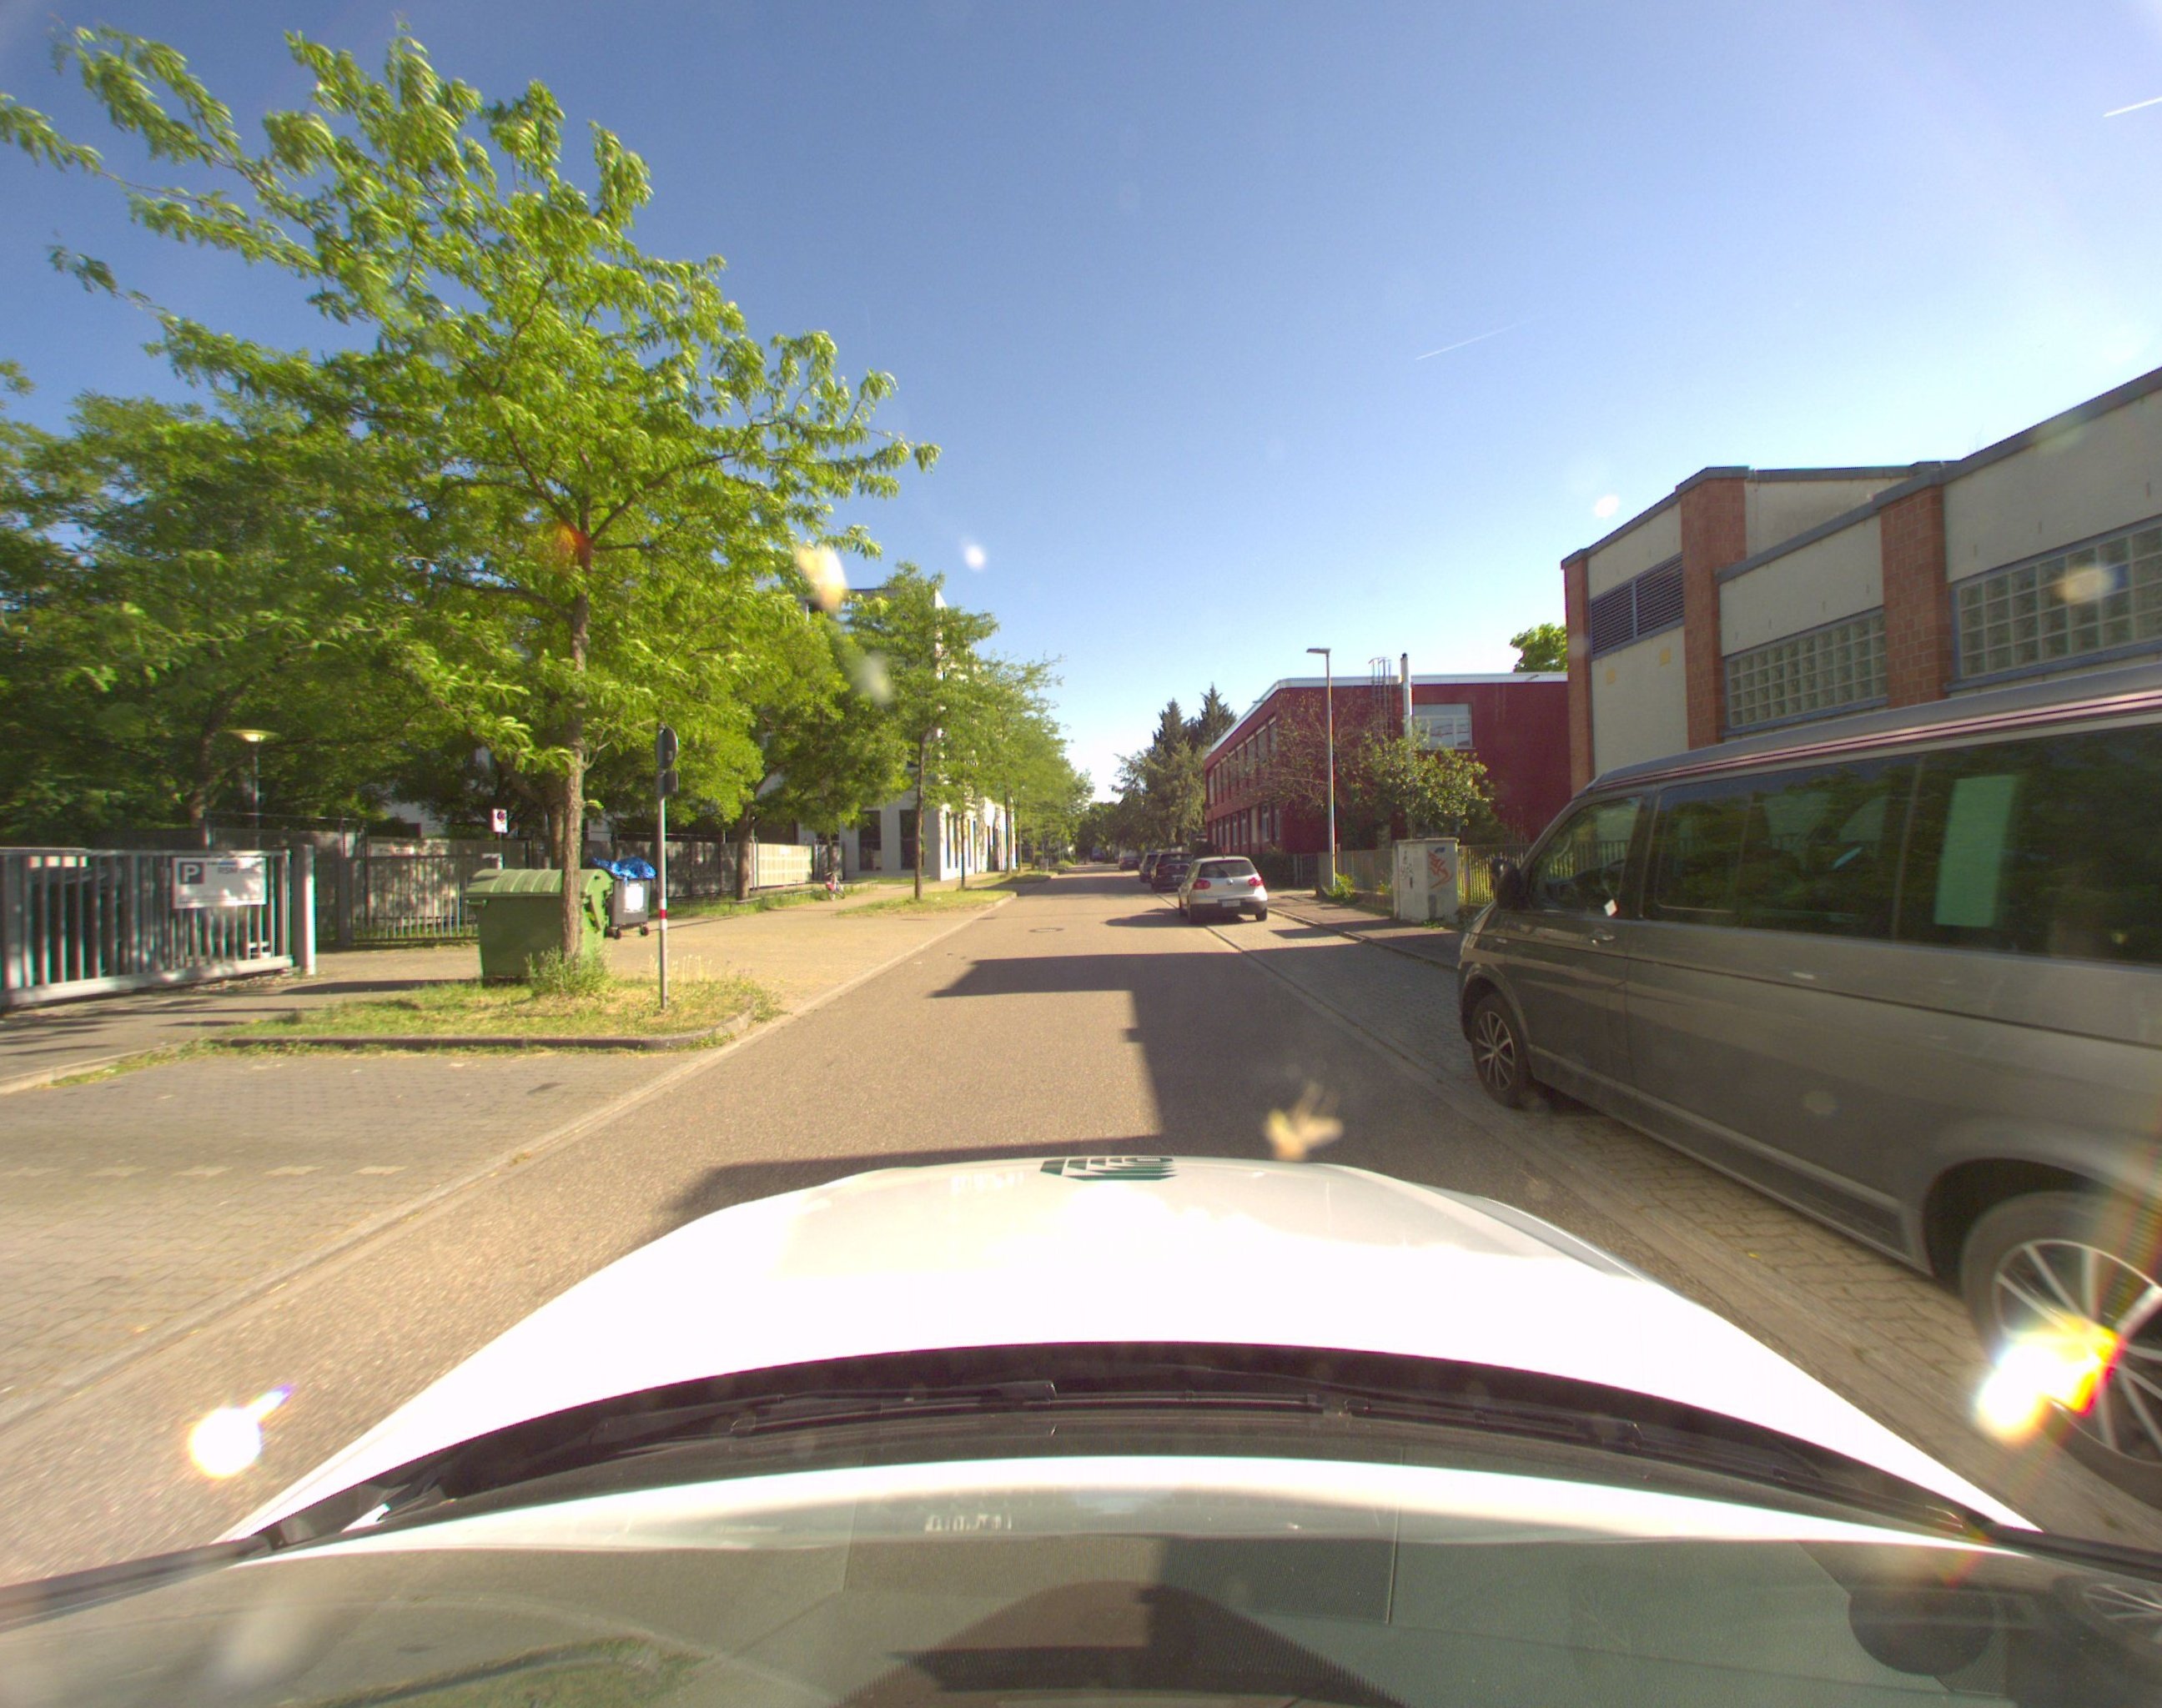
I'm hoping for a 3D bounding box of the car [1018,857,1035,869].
[{"bbox_3d":[-7.253,1.154,108.270,1.988,1.458,3.790,-1,0,-2],"label":"car"}]

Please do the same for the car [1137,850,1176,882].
[{"bbox_3d":[4.141,0.628,44.993,1.848,1.648,4.002,-2,0,2],"label":"car"}]

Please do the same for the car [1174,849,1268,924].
[{"bbox_3d":[3.223,0.695,19.411,1.653,1.561,3.936,-1,0,2],"label":"car"}]

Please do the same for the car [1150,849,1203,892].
[{"bbox_3d":[3.924,0.646,34.001,1.831,1.634,4.203,-1,0,2],"label":"car"}]

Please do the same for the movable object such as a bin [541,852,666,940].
[{"bbox_3d":[-9.384,0.816,16.104,1.407,1.597,1.524,3,-3,4],"label":"movable object such as a bin"}]

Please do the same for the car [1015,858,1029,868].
[{"bbox_3d":[-8.655,1.364,119.782,1.900,1.342,3.790,-1,0,-2],"label":"car"}]

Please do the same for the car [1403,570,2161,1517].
[{"bbox_3d":[3.285,0.397,3.425,1.937,2.022,4.826,-3,-1,1],"label":"car"}]

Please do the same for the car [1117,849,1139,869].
[{"bbox_3d":[4.787,0.474,83.570,1.986,1.834,4.002,-5,0,2],"label":"car"}]

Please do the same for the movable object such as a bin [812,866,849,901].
[{"bbox_3d":[-9.064,1.049,29.563,0.660,1.181,1.936,-1,0,1],"label":"movable object such as a bin"}]

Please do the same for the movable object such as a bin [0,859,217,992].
[{"bbox_3d":[-11.843,0.836,9.955,1.475,1.486,1.012,-2,-1,1],"label":"movable object such as a bin"}]

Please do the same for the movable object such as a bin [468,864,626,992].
[{"bbox_3d":[-6.456,0.841,9.967,1.296,1.414,1.220,-1,0,-17],"label":"movable object such as a bin"}]

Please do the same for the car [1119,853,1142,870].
[{"bbox_3d":[4.664,0.726,77.772,1.986,1.442,4.002,-5,0,2],"label":"car"}]
